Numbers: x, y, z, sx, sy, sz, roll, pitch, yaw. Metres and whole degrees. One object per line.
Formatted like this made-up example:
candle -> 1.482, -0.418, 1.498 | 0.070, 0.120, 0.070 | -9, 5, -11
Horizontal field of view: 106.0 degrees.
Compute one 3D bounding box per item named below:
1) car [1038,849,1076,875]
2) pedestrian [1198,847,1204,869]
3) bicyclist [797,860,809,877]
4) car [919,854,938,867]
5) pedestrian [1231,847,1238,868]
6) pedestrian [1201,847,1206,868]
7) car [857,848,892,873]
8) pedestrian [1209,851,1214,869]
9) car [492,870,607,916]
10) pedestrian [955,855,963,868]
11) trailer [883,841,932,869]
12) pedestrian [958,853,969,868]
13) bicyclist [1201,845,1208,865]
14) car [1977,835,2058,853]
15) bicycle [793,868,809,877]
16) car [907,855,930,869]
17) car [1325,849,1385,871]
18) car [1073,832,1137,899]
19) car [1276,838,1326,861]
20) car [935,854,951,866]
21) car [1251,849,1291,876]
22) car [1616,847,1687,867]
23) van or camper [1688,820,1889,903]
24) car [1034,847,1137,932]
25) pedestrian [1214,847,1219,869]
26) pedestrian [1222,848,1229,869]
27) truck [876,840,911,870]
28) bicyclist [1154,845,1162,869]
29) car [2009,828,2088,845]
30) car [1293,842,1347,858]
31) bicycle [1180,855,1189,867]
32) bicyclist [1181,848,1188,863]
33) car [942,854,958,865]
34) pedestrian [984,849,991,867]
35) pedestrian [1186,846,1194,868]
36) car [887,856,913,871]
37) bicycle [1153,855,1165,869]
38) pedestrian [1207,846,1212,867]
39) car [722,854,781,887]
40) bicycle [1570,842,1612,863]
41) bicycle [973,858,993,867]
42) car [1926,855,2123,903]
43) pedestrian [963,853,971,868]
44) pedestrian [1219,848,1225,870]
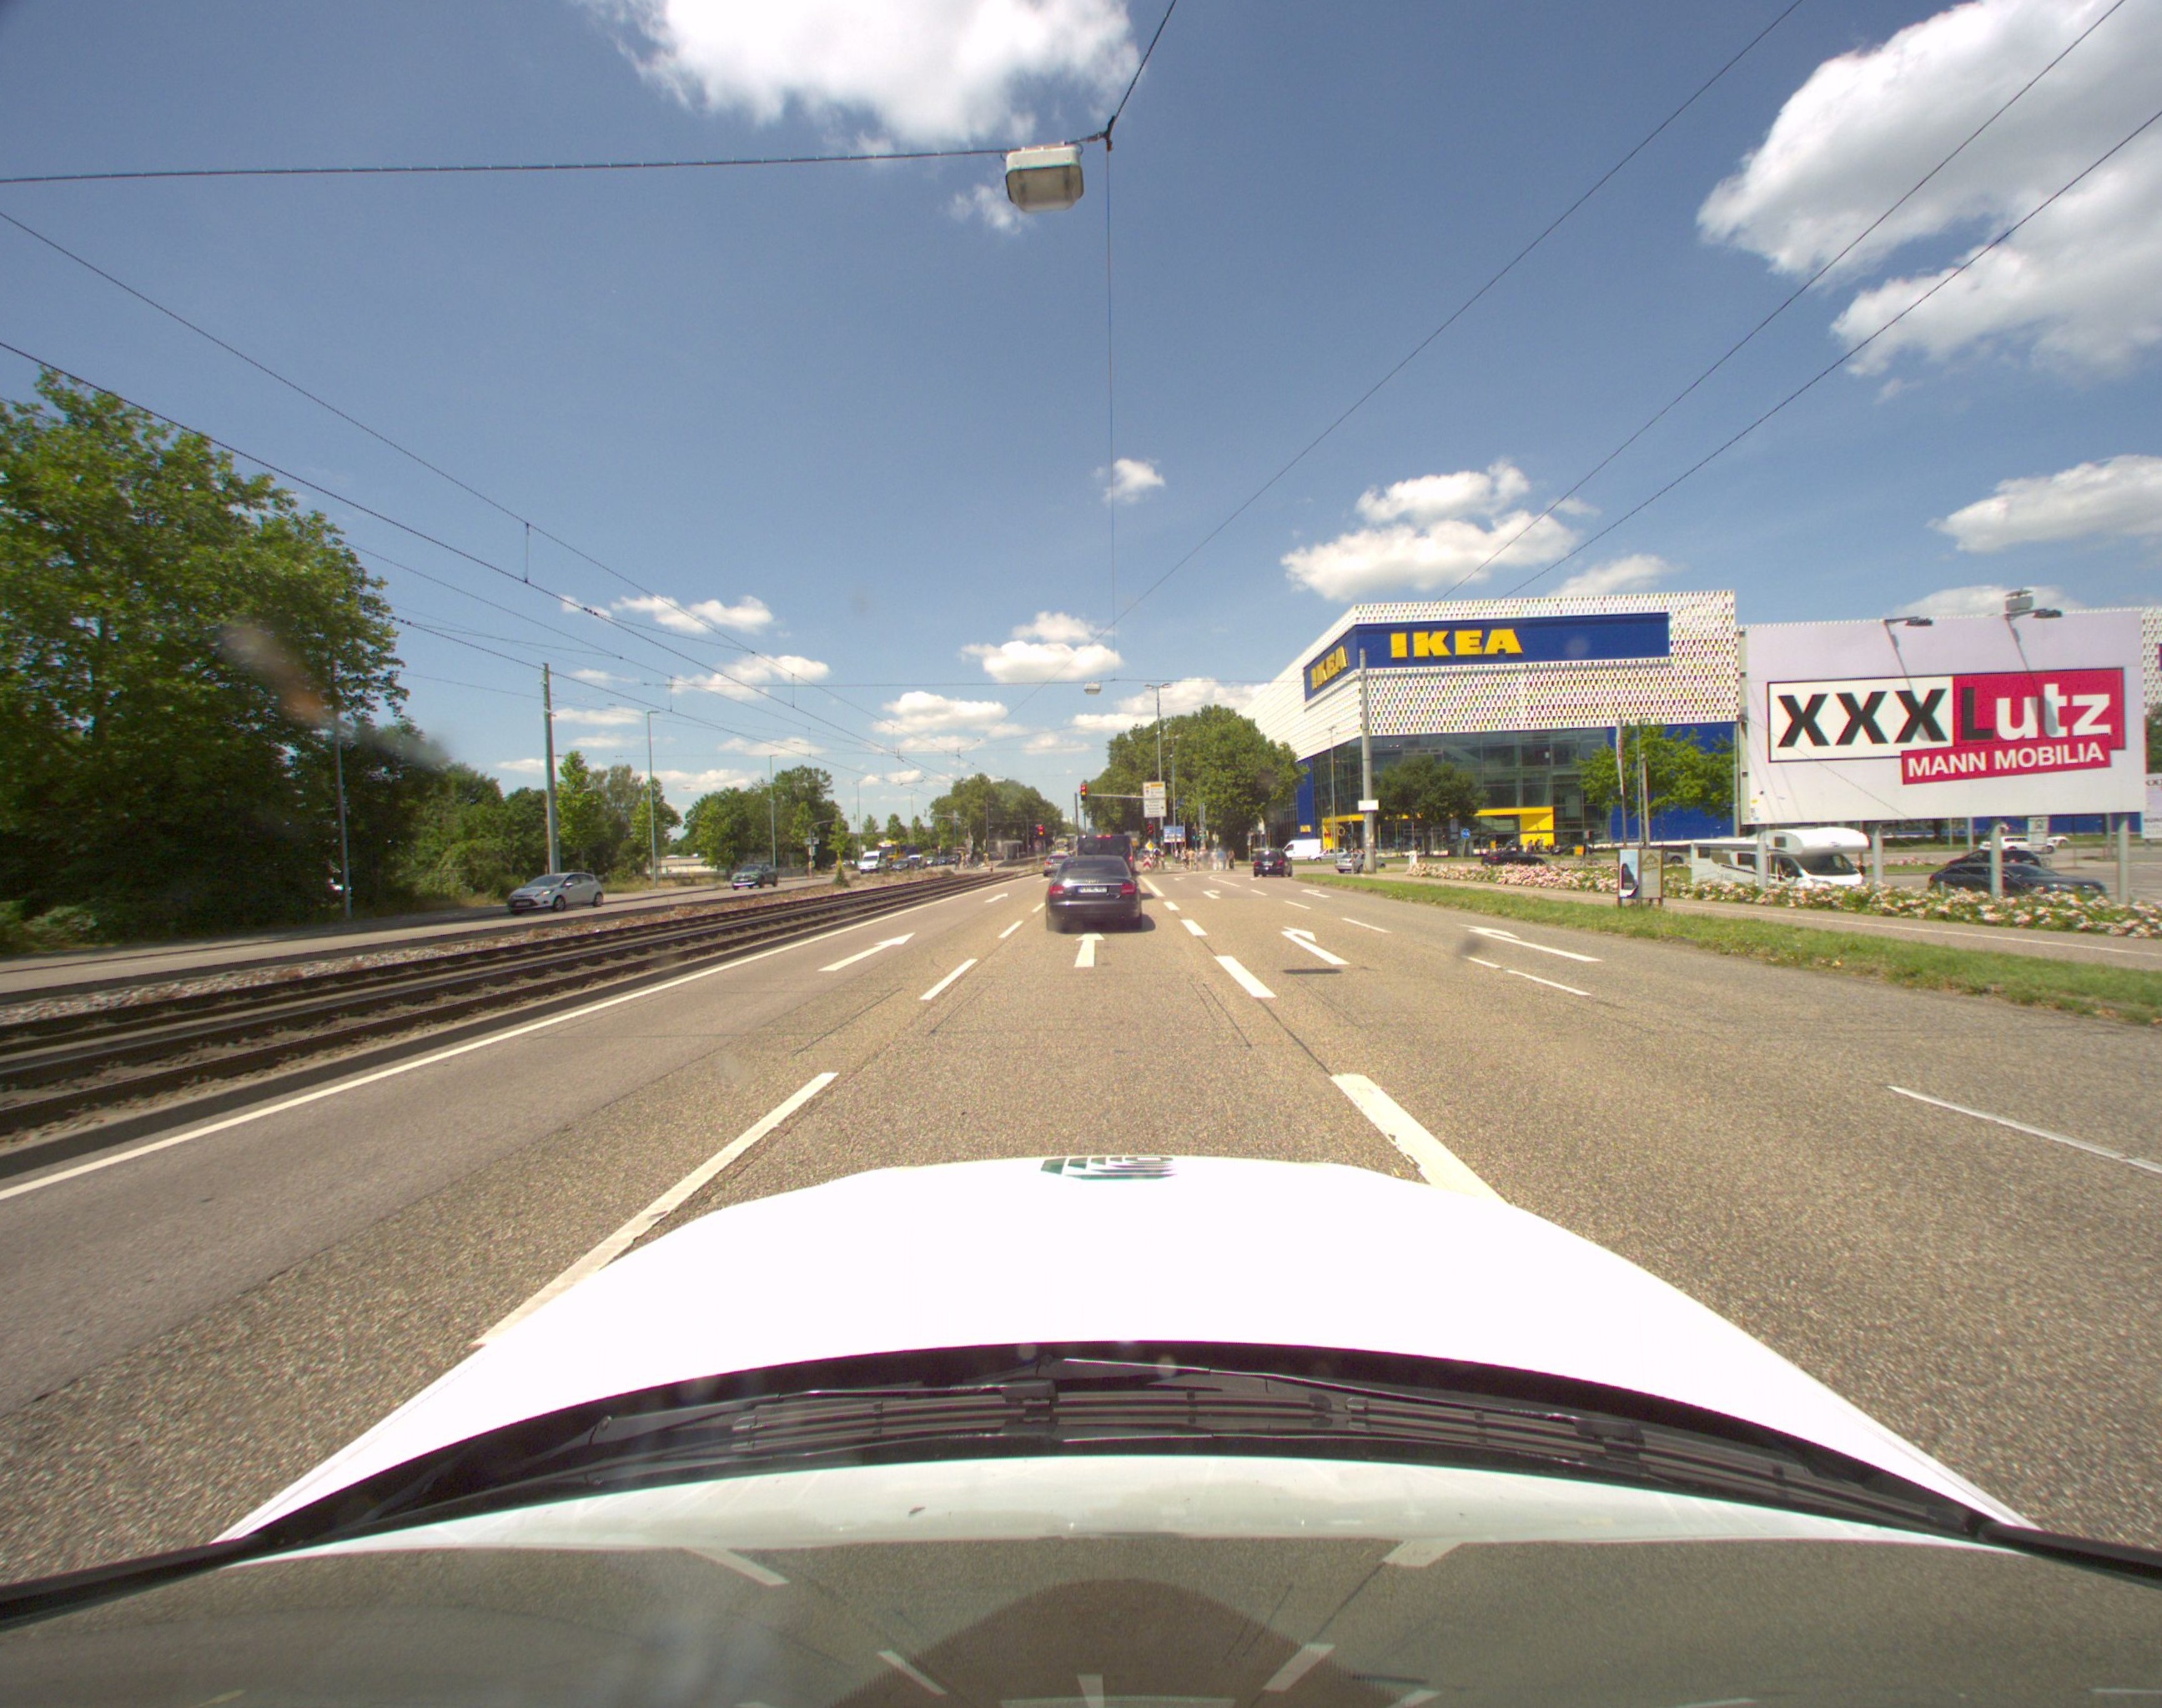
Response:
car -> -1.413, 0.450, 49.510 | 1.986, 1.486, 4.002 | 0, 1, 2
pedestrian -> 9.090, 0.327, 61.777 | 0.443, 1.635, 0.430 | -1, 0, 5
bicyclist -> -29.333, 1.545, 85.819 | 1.116, 1.774, 0.340 | -1, 0, -3
car -> -22.895, 0.905, 122.372 | 1.811, 1.883, 4.002 | -1, 0, 2
pedestrian -> 11.989, 0.262, 63.659 | 0.518, 1.670, 0.495 | -1, 0, 5
pedestrian -> 9.585, 0.243, 63.860 | 0.379, 1.635, 0.377 | -1, 0, 5
car -> -23.848, 0.752, 94.279 | 2.235, 2.588, 6.236 | -4, 1, 1
pedestrian -> 9.891, 0.446, 61.693 | 0.371, 1.303, 0.365 | -1, 0, 5
car -> -19.823, 1.412, 30.614 | 1.818, 1.415, 3.879 | -4, 0, -3
pedestrian -> -12.913, 0.793, 86.217 | 0.683, 1.443, 0.572 | -1, 0, -2
trailer -> -23.417, 0.061, 110.920 | 2.757, 3.518, 15.884 | -1, 0, 2
pedestrian -> -12.830, 0.706, 89.033 | 0.816, 1.720, 0.779 | -1, 0, 24
bicyclist -> 11.184, 0.113, 73.576 | 0.525, 1.764, 0.831 | -1, 0, 15
car -> 76.379, -0.809, 66.436 | 4.361, 1.486, 2.000 | 0, 0, 0
bicycle -> -29.502, 1.941, 85.824 | 1.487, 0.987, 0.485 | -1, 0, -2
car -> -20.438, 0.970, 102.696 | 1.814, 1.670, 4.465 | 0, 0, 3
car -> 19.049, 0.395, 56.585 | 4.186, 1.486, 1.977 | 0, 1, -38
car -> 0.773, 0.334, 26.080 | 1.830, 1.950, 4.001 | -1, 0, 2
car -> 23.297, -0.502, 86.261 | 4.716, 2.309, 2.012 | -1, 0, 25
car -> -22.341, 0.897, 132.014 | 1.811, 1.883, 4.002 | -1, 0, 2
car -> 11.172, 0.480, 47.732 | 1.978, 1.486, 4.018 | 0, 1, 17
car -> 44.315, 0.232, 63.289 | 4.115, 1.486, 2.001 | 0, 0, 2
van or camper -> 28.467, 0.250, 33.307 | 2.494, 3.020, 7.235 | -1, 0, 6
car -> 0.160, 0.621, 16.627 | 1.786, 1.455, 4.002 | -2, 0, 2
pedestrian -> 10.288, 0.284, 61.650 | 0.319, 1.635, 0.377 | -1, 0, 5
pedestrian -> 11.327, 0.330, 63.700 | 0.501, 1.635, 0.449 | -1, 0, 4
truck -> -23.655, 0.089, 103.207 | 2.757, 3.569, 6.442 | -1, 0, 2
bicyclist -> 5.865, 0.216, 62.122 | 0.526, 1.789, 1.089 | -1, 0, 2
car -> 86.432, -1.538, 72.817 | 4.475, 1.486, 2.003 | 0, 0, 5
car -> 22.300, -0.353, 76.113 | 4.475, 1.486, 2.003 | 0, 0, 5
bicycle -> 8.056, 0.561, 63.397 | 0.547, 0.877, 1.700 | -1, 0, 5
bicyclist -> 8.091, 0.099, 63.802 | 0.468, 1.193, 0.792 | -1, 0, 5
car -> -22.080, 0.897, 137.404 | 1.811, 1.883, 4.002 | -1, 0, 2
pedestrian -> -10.589, 0.495, 92.465 | 0.683, 2.013, 0.572 | -1, 0, -3
pedestrian -> 8.301, 0.232, 61.857 | 0.551, 1.635, 0.433 | -1, 0, 4
car -> -20.861, 1.056, 93.956 | 1.815, 1.670, 4.463 | 0, 0, 2
bicycle -> 5.953, 0.593, 62.237 | 0.685, 0.993, 2.753 | -1, 0, 2
pedestrian -> 10.055, 0.218, 63.767 | 0.337, 1.635, 0.377 | -1, 0, 5
car -> -20.423, 1.005, 50.672 | 1.988, 1.918, 4.408 | 0, 1, -2
bicycle -> 37.387, -0.142, 59.701 | 2.410, 1.481, 0.990 | -1, 0, 6
bicycle -> -10.329, 0.923, 85.679 | 2.055, 0.925, 0.751 | -1, 0, -8
car -> 35.268, 0.886, 30.698 | 1.986, 1.537, 4.772 | -3, 0, 2
pedestrian -> -12.228, 0.728, 87.313 | 0.683, 1.564, 0.572 | -1, 0, -2
pedestrian -> 10.681, 0.354, 61.617 | 0.396, 1.635, 0.371 | -1, 0, 5
